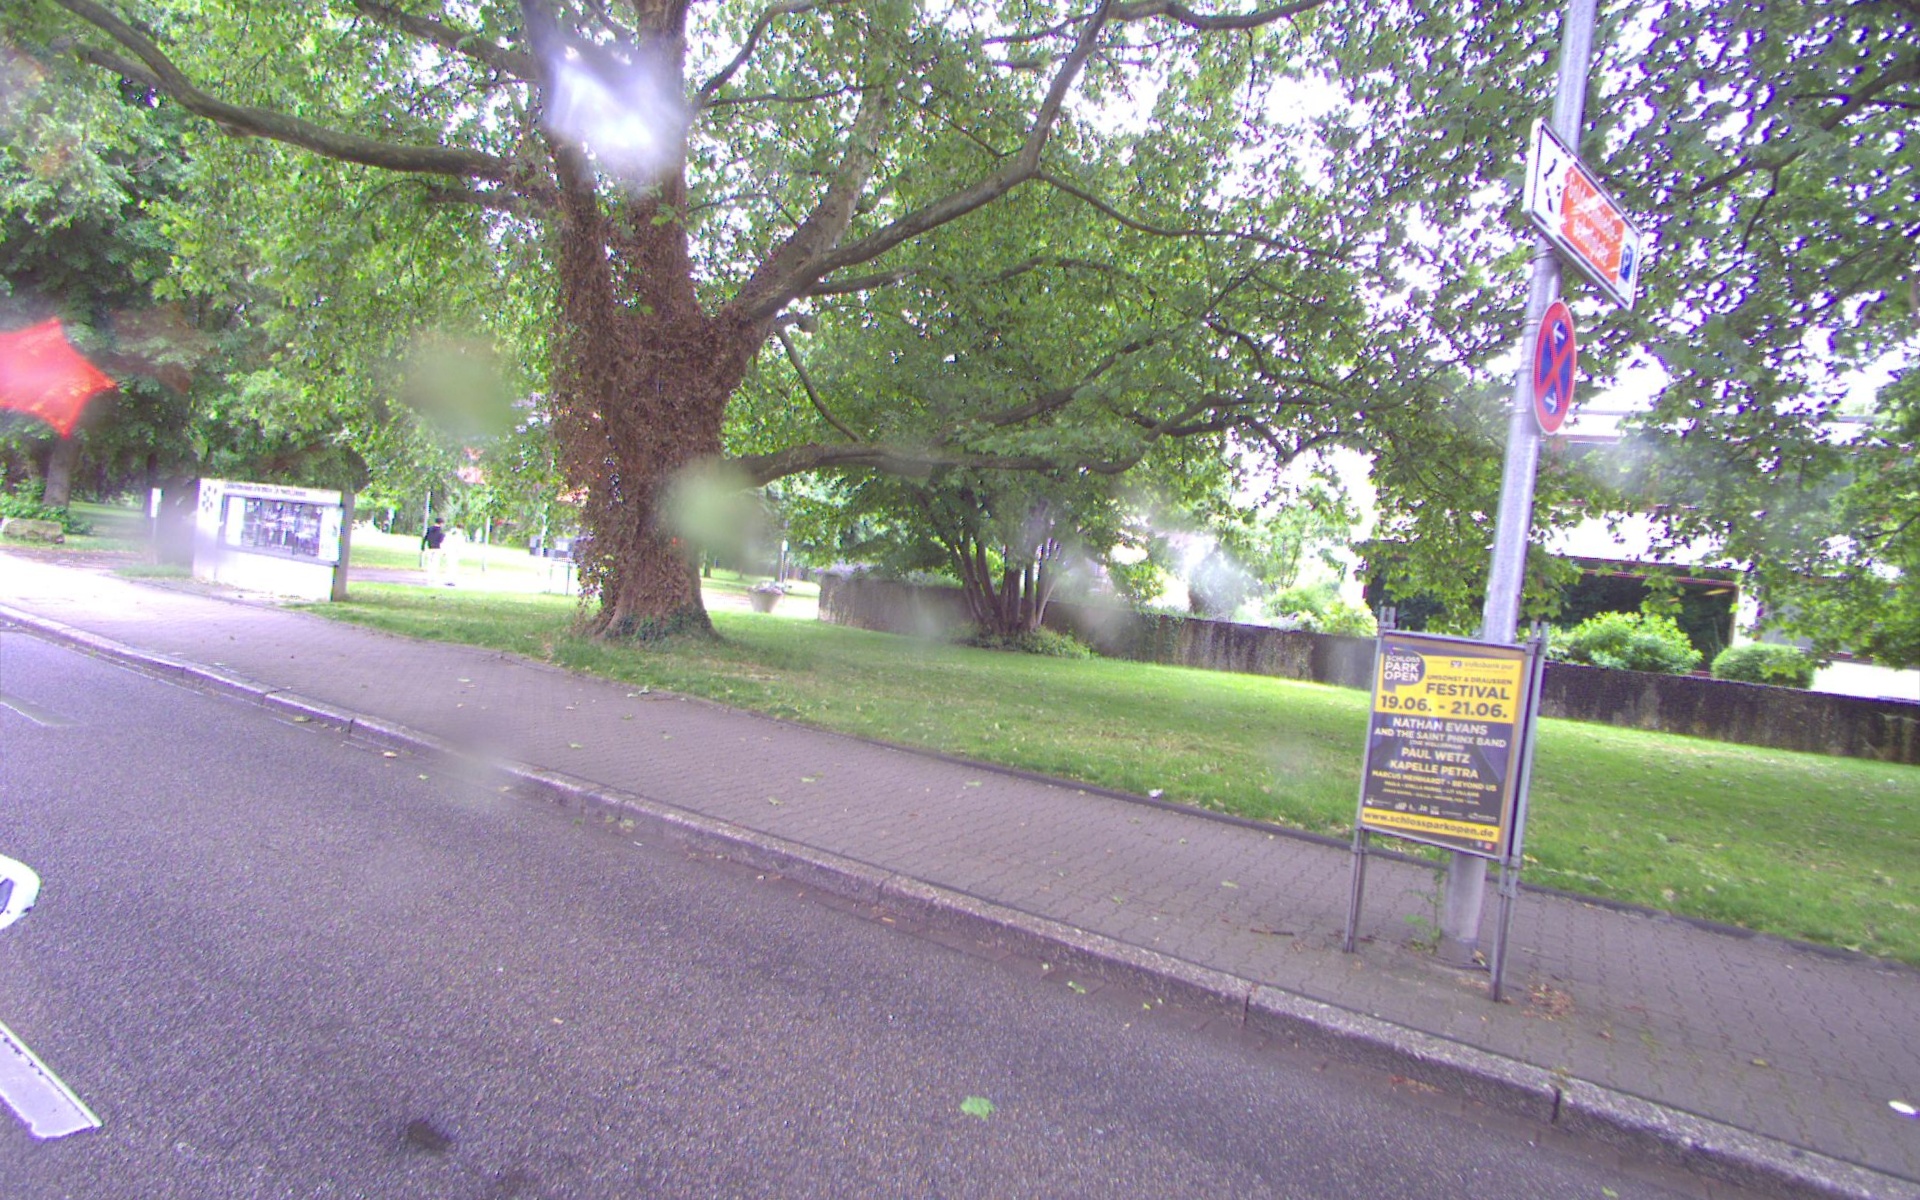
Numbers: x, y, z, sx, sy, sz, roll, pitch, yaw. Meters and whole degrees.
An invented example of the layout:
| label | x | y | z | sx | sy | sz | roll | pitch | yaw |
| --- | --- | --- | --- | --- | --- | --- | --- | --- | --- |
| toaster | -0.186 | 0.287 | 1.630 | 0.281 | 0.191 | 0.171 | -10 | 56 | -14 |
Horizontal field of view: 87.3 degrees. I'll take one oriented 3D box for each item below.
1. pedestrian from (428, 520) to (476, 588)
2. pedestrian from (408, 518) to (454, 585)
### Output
| label | x | y | z | sx | sy | sz | roll | pitch | yaw |
| --- | --- | --- | --- | --- | --- | --- | --- | --- | --- |
| pedestrian | -14.026 | -1.272 | 27.788 | 0.776 | 1.732 | 0.666 | 7 | -1 | 23 |
| pedestrian | -15.032 | -1.373 | 28.612 | 0.711 | 1.776 | 0.666 | 7 | -1 | 23 |
